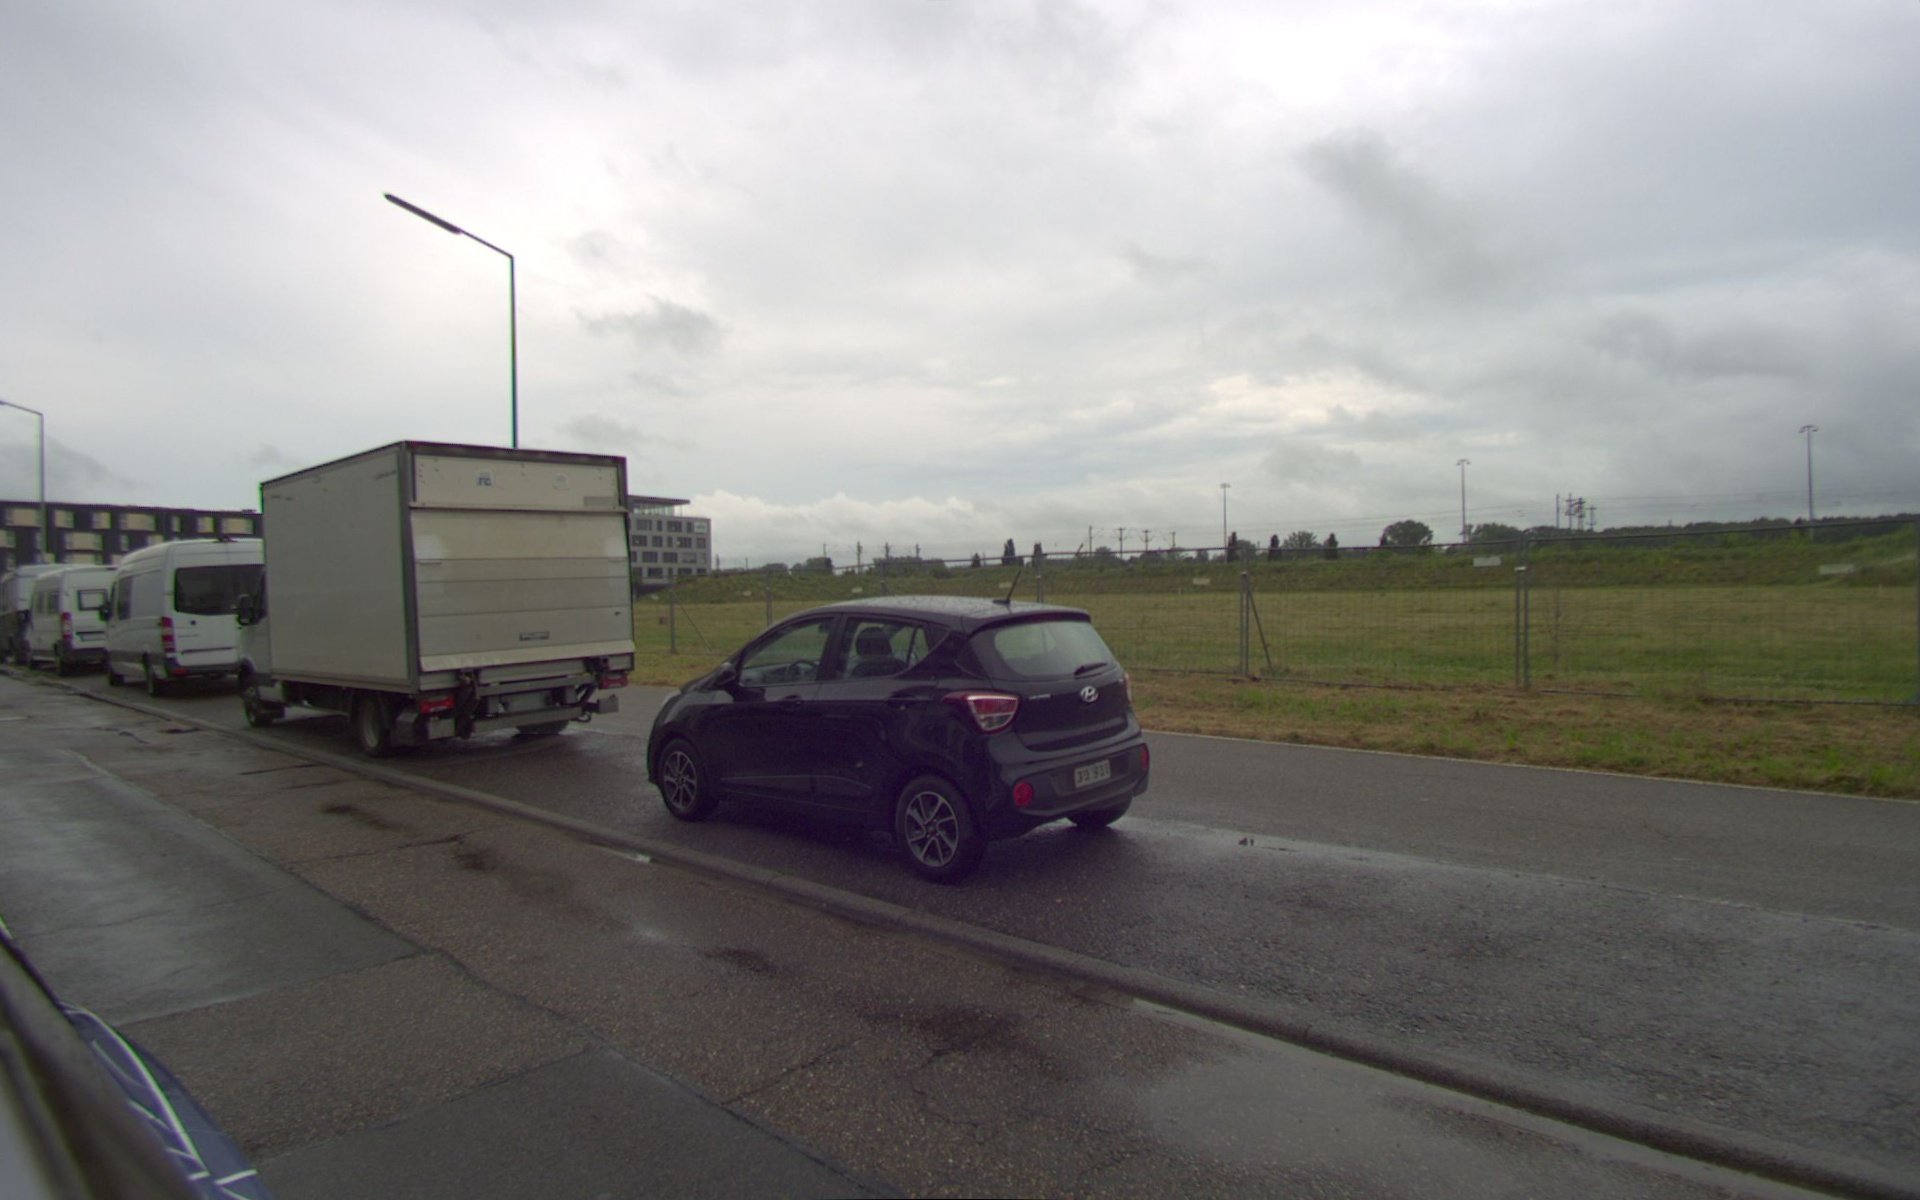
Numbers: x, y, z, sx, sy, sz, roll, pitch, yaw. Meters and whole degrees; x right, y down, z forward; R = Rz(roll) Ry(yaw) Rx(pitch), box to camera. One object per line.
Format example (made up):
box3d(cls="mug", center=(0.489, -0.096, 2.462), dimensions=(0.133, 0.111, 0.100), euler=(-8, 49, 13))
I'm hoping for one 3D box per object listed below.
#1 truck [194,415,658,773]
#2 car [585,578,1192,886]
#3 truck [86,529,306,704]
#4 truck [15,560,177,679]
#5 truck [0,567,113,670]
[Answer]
box3d(cls="truck", center=(-6.526, -0.049, 11.830), dimensions=(6.696, 3.091, 2.411), euler=(-1, 2, 41))
box3d(cls="car", center=(-0.706, 0.650, 6.860), dimensions=(4.155, 1.474, 1.655), euler=(-1, 0, 41))
box3d(cls="truck", center=(-14.583, 0.270, 19.104), dimensions=(6.736, 2.787, 2.019), euler=(-1, 2, 42))
box3d(cls="truck", center=(-21.640, 0.442, 25.227), dimensions=(6.128, 2.626, 2.152), euler=(-1, 1, 41))
box3d(cls="truck", center=(-26.981, 0.507, 29.908), dimensions=(5.287, 2.767, 2.152), euler=(-1, 1, 41))
